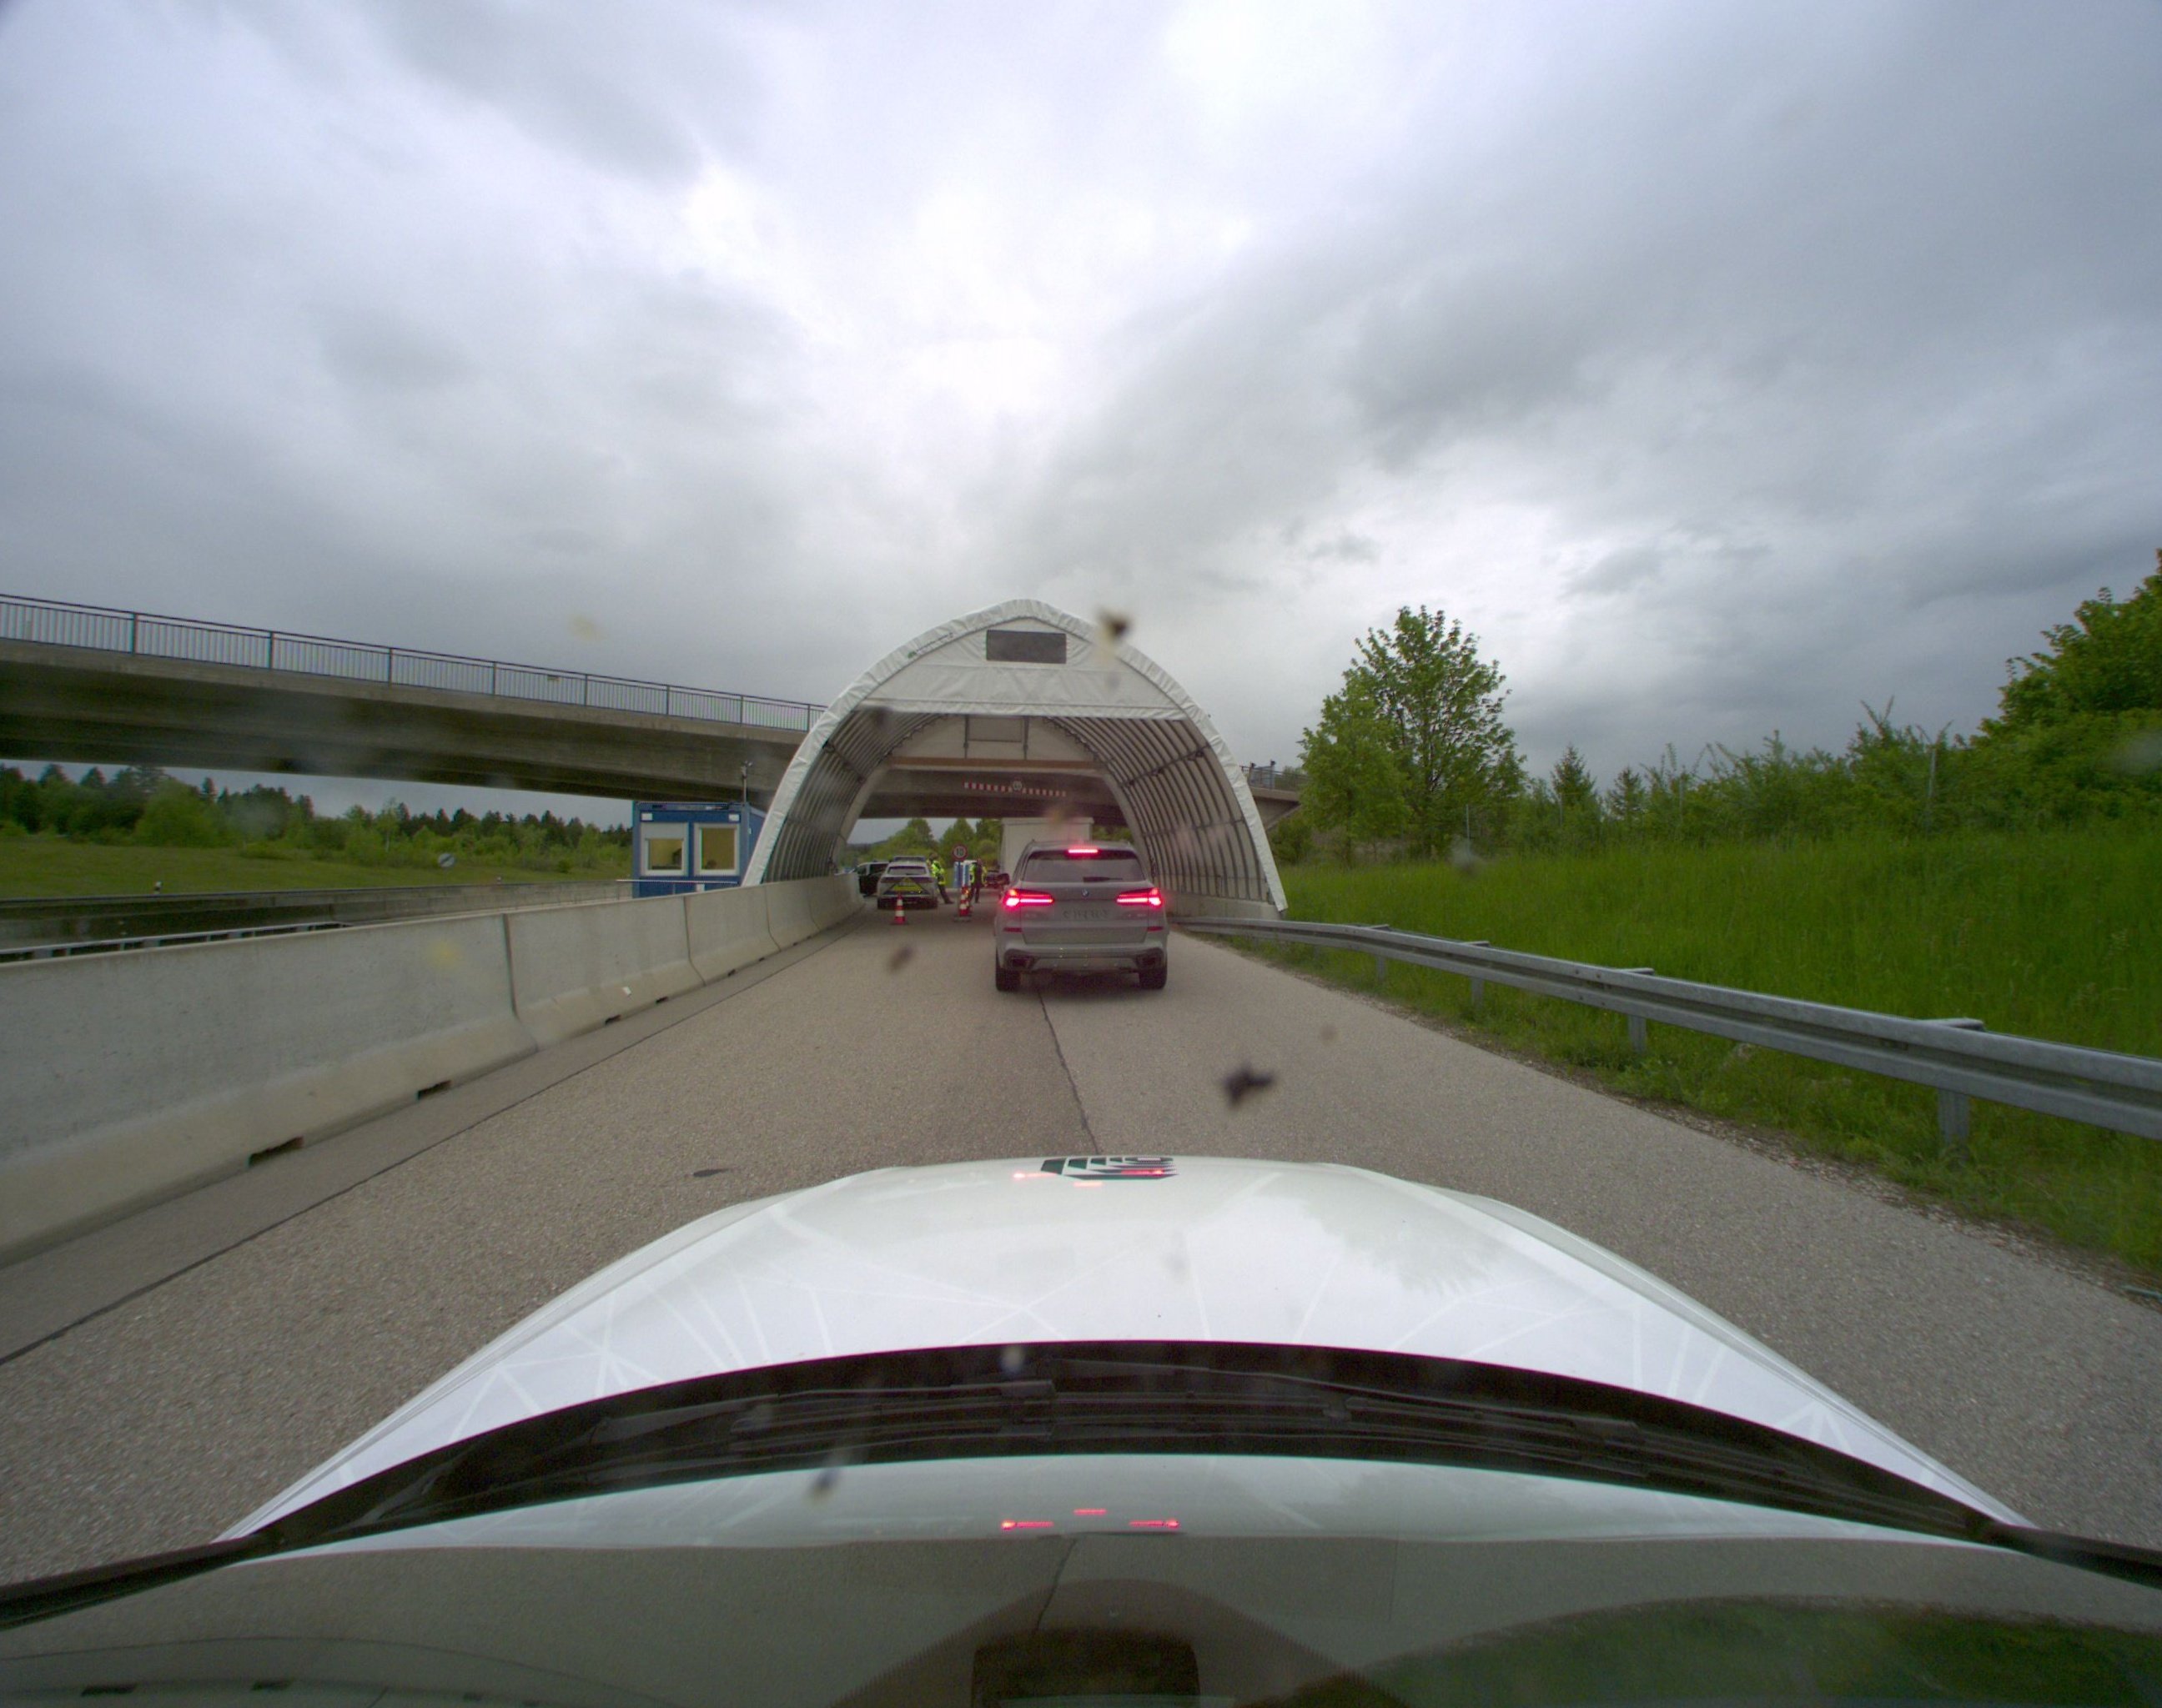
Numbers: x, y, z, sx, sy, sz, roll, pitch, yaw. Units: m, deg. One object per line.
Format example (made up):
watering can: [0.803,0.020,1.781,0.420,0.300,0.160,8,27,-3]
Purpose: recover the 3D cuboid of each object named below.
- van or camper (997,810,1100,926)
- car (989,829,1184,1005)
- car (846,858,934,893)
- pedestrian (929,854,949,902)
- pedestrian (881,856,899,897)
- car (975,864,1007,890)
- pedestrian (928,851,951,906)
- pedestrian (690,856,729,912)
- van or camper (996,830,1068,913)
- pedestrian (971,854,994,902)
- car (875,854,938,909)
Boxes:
van or camper: [-1.063,0.355,21.624,2.227,2.552,6.595,-1,-1,-6]
car: [-0.155,0.665,10.468,1.992,1.765,3.990,-1,-1,-7]
car: [-11.552,1.295,49.370,4.777,2.014,1.845,-1,-1,9]
pedestrian: [-5.252,0.871,30.191,0.607,1.754,0.665,-1,-1,-4]
pedestrian: [-9.450,1.120,40.335,0.698,2.014,0.692,-1,-1,1]
car: [-6.521,1.629,58.920,1.994,1.722,3.882,-1,-1,-11]
pedestrian: [-5.082,0.869,29.193,0.750,1.919,0.759,-1,-1,-13]
pedestrian: [-9.248,0.734,20.299,0.606,1.373,0.629,-2,-1,10]
van or camper: [-1.791,0.575,27.998,2.102,2.519,5.537,-1,-1,-7]
pedestrian: [-3.625,0.877,29.937,0.779,1.722,0.755,-1,-1,-7]
car: [-5.779,0.874,27.022,1.879,1.647,3.983,-1,-1,-12]
